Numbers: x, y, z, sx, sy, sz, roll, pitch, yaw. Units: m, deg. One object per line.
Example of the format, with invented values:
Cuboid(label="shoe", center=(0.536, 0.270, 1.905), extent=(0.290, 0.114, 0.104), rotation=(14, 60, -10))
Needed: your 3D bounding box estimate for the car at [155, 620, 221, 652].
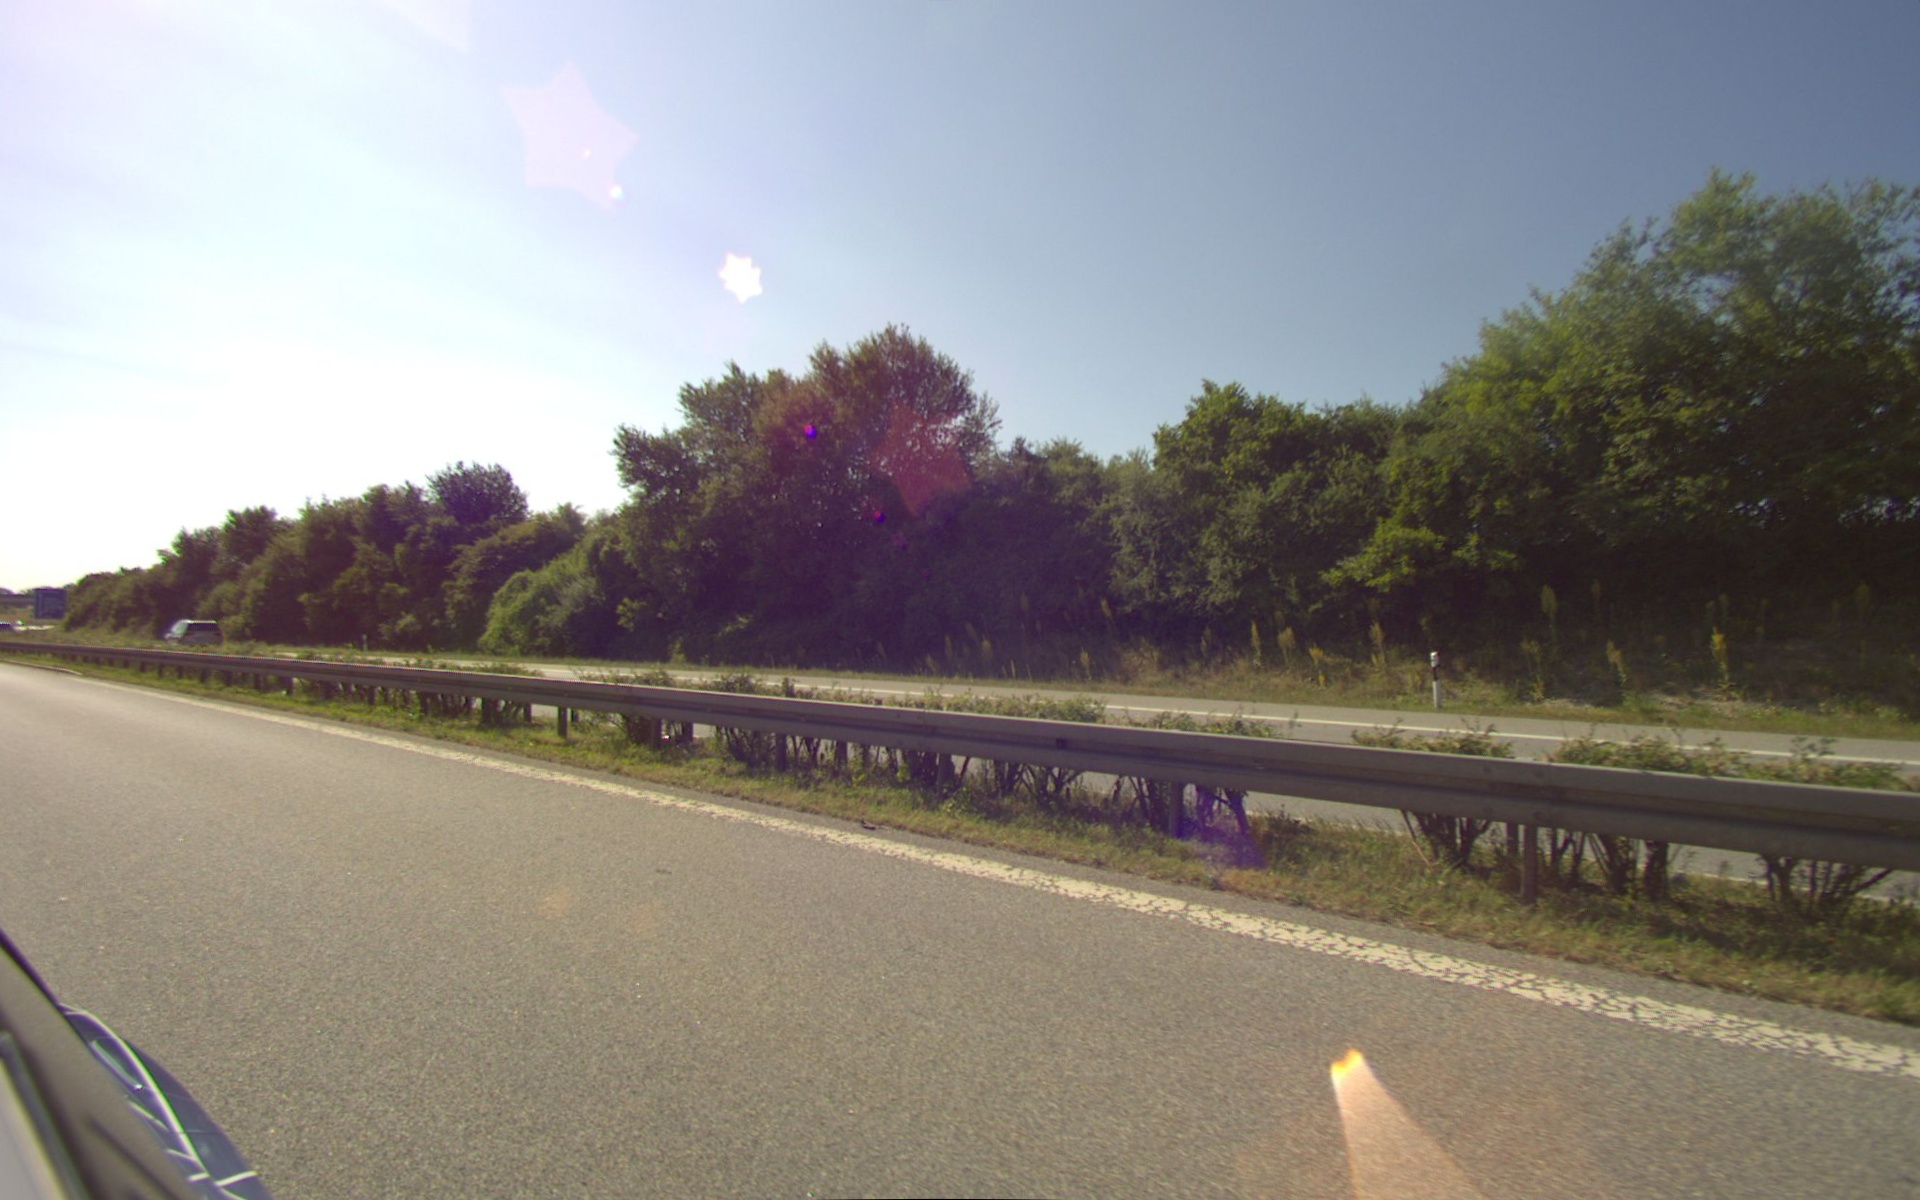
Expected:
Cuboid(label="car", center=(-39.921, 1.829, 52.293), extent=(4.790, 1.596, 1.749), rotation=(-1, -2, 41))
